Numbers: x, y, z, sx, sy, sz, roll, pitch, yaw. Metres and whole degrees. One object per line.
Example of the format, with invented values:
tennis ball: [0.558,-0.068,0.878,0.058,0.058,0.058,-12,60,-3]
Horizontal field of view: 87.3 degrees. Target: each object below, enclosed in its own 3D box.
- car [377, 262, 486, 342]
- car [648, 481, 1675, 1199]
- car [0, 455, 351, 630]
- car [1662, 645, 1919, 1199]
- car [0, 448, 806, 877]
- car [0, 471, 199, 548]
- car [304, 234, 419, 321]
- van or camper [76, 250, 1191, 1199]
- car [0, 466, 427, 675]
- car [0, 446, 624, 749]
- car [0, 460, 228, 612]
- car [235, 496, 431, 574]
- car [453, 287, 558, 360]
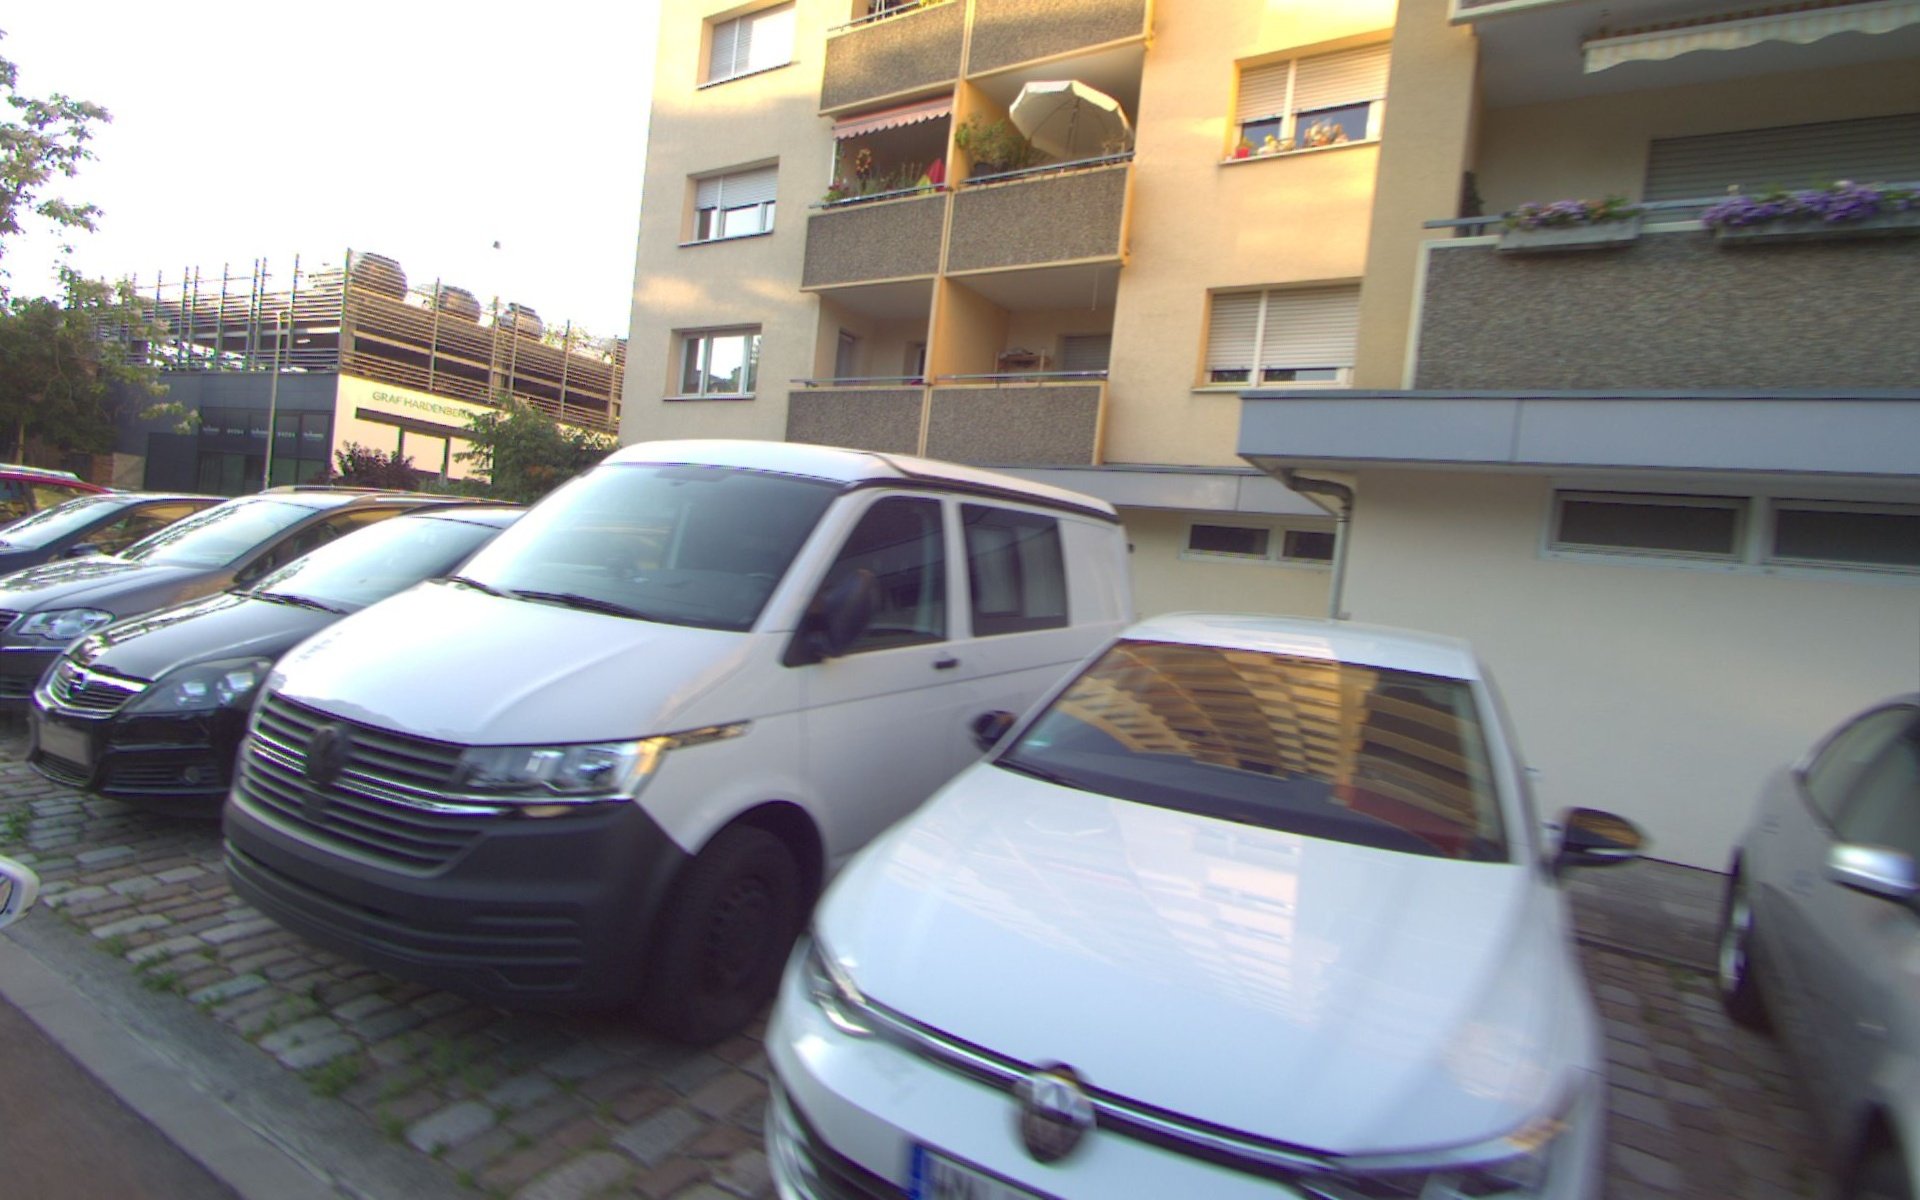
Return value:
car: [-19.942,-11.158,37.908,3.938,2.038,1.993,7,0,36]
car: [1.226,0.692,3.728,1.815,1.652,4.406,5,1,31]
car: [-9.301,-0.636,10.772,1.816,1.654,4.398,7,5,33]
car: [3.090,1.014,2.439,1.815,1.613,4.406,5,1,31]
car: [-3.028,0.201,6.255,1.751,1.684,4.327,5,2,29]
car: [-22.714,-2.352,26.167,1.794,1.523,4.290,7,2,35]
car: [-21.284,-11.374,35.716,3.938,2.038,1.993,7,0,36]
van or camper: [-0.680,0.237,4.933,2.005,2.198,5.132,7,4,29]
car: [-7.365,-0.249,8.855,1.814,1.551,4.407,5,1,29]
car: [-5.028,-0.063,7.940,1.814,1.684,4.405,5,2,29]
car: [-11.531,-0.800,11.779,1.814,1.652,4.407,5,1,29]
car: [-16.038,-1.626,25.890,1.794,1.544,3.835,7,2,35]
car: [-18.079,-10.904,39.960,3.938,2.038,1.993,7,0,36]
